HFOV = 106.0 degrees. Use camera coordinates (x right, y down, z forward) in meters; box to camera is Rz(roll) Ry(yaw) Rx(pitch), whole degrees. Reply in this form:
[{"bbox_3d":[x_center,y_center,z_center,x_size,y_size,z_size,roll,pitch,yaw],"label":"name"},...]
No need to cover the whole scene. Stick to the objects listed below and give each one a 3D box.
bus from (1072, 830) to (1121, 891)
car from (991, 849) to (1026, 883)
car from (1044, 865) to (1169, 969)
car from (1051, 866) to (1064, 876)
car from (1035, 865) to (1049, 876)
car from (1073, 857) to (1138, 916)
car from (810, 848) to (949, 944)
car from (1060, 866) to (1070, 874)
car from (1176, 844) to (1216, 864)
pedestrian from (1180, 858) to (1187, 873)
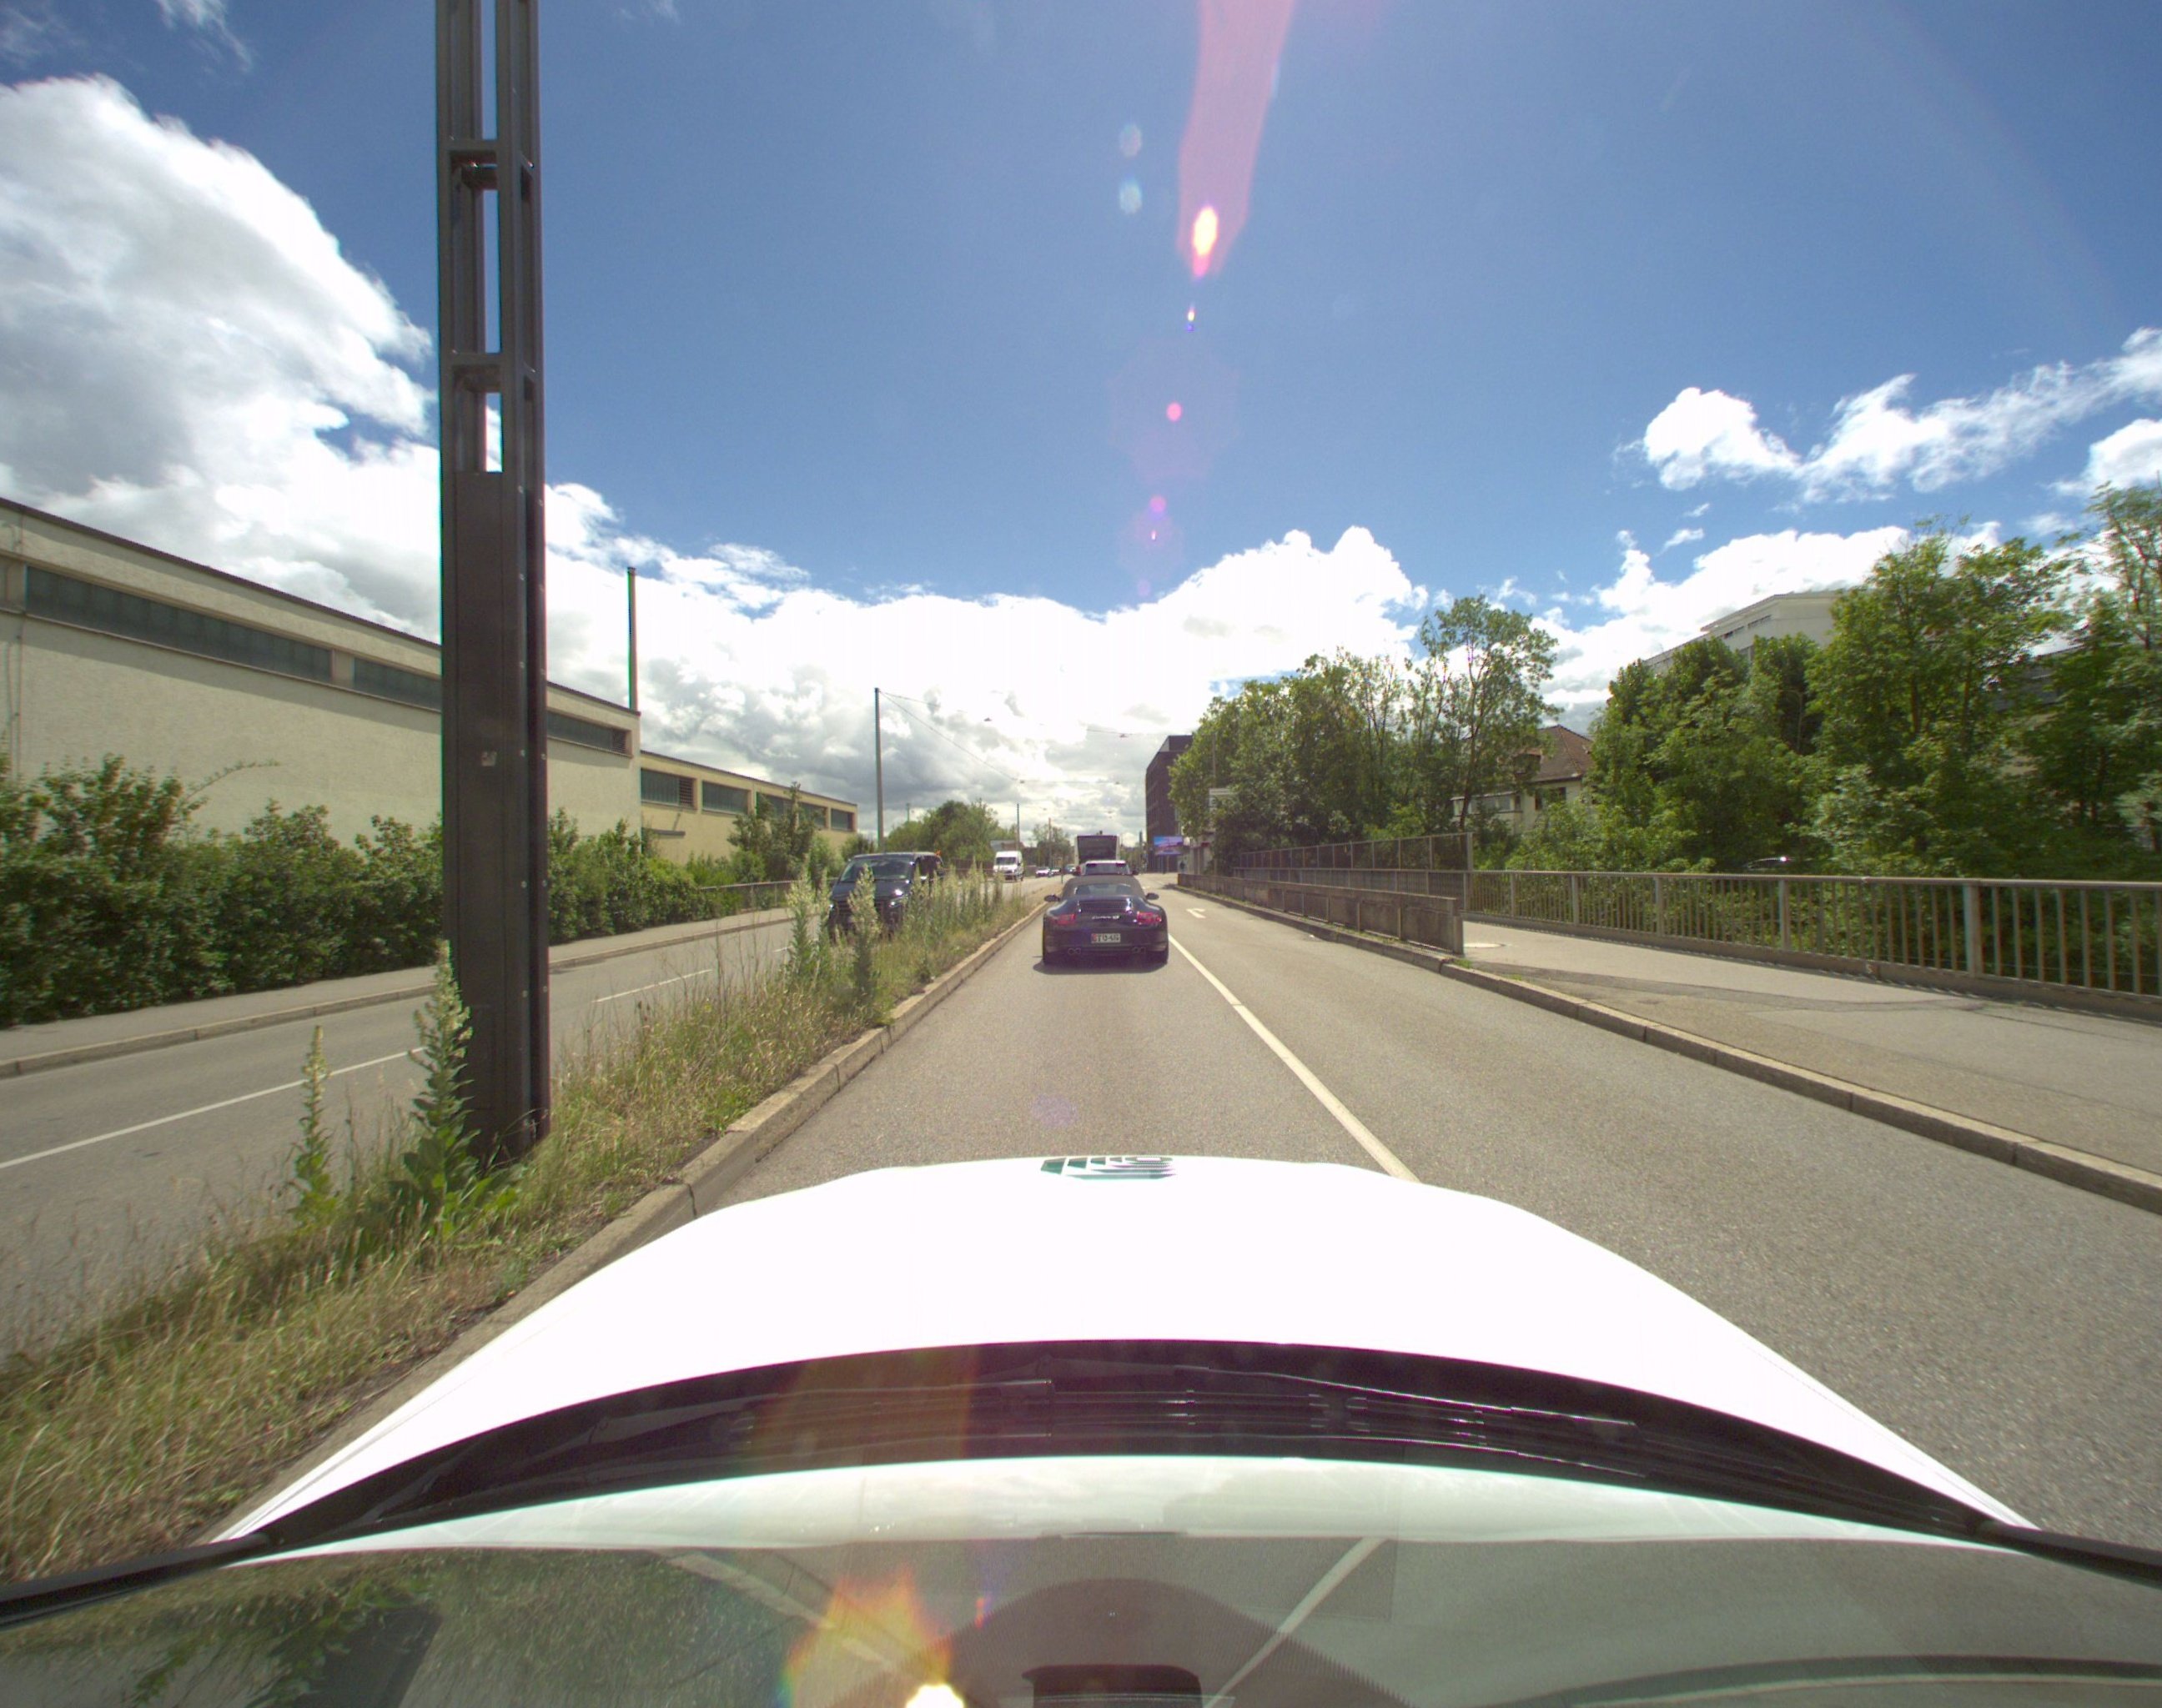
[{"bbox_3d":[1.068,0.183,50.726,2.678,3.255,12.066,0,2,2],"label":"bus"},{"bbox_3d":[-6.015,0.991,68.080,2.059,2.571,6.823,-2,-1,1],"label":"car"},{"bbox_3d":[0.371,0.898,13.230,1.714,1.275,4.088,0,1,0],"label":"car"},{"bbox_3d":[-3.660,2.728,128.845,1.804,1.560,4.207,-1,-1,1],"label":"car"},{"bbox_3d":[-5.162,2.187,107.995,1.631,1.363,4.195,-2,-1,1],"label":"car"},{"bbox_3d":[0.763,0.947,25.591,1.873,1.594,4.231,0,1,1],"label":"car"},{"bbox_3d":[-4.447,0.835,18.828,1.987,1.888,4.867,-1,0,-1],"label":"car"},{"bbox_3d":[-2.930,2.877,149.999,1.622,1.430,4.001,-1,-1,1],"label":"car"},{"bbox_3d":[12.826,-0.036,91.040,4.214,1.936,2.030,-4,-1,2],"label":"car"},{"bbox_3d":[11.694,1.305,93.059,0.673,1.696,0.602,-2,-1,26],"label":"pedestrian"}]
